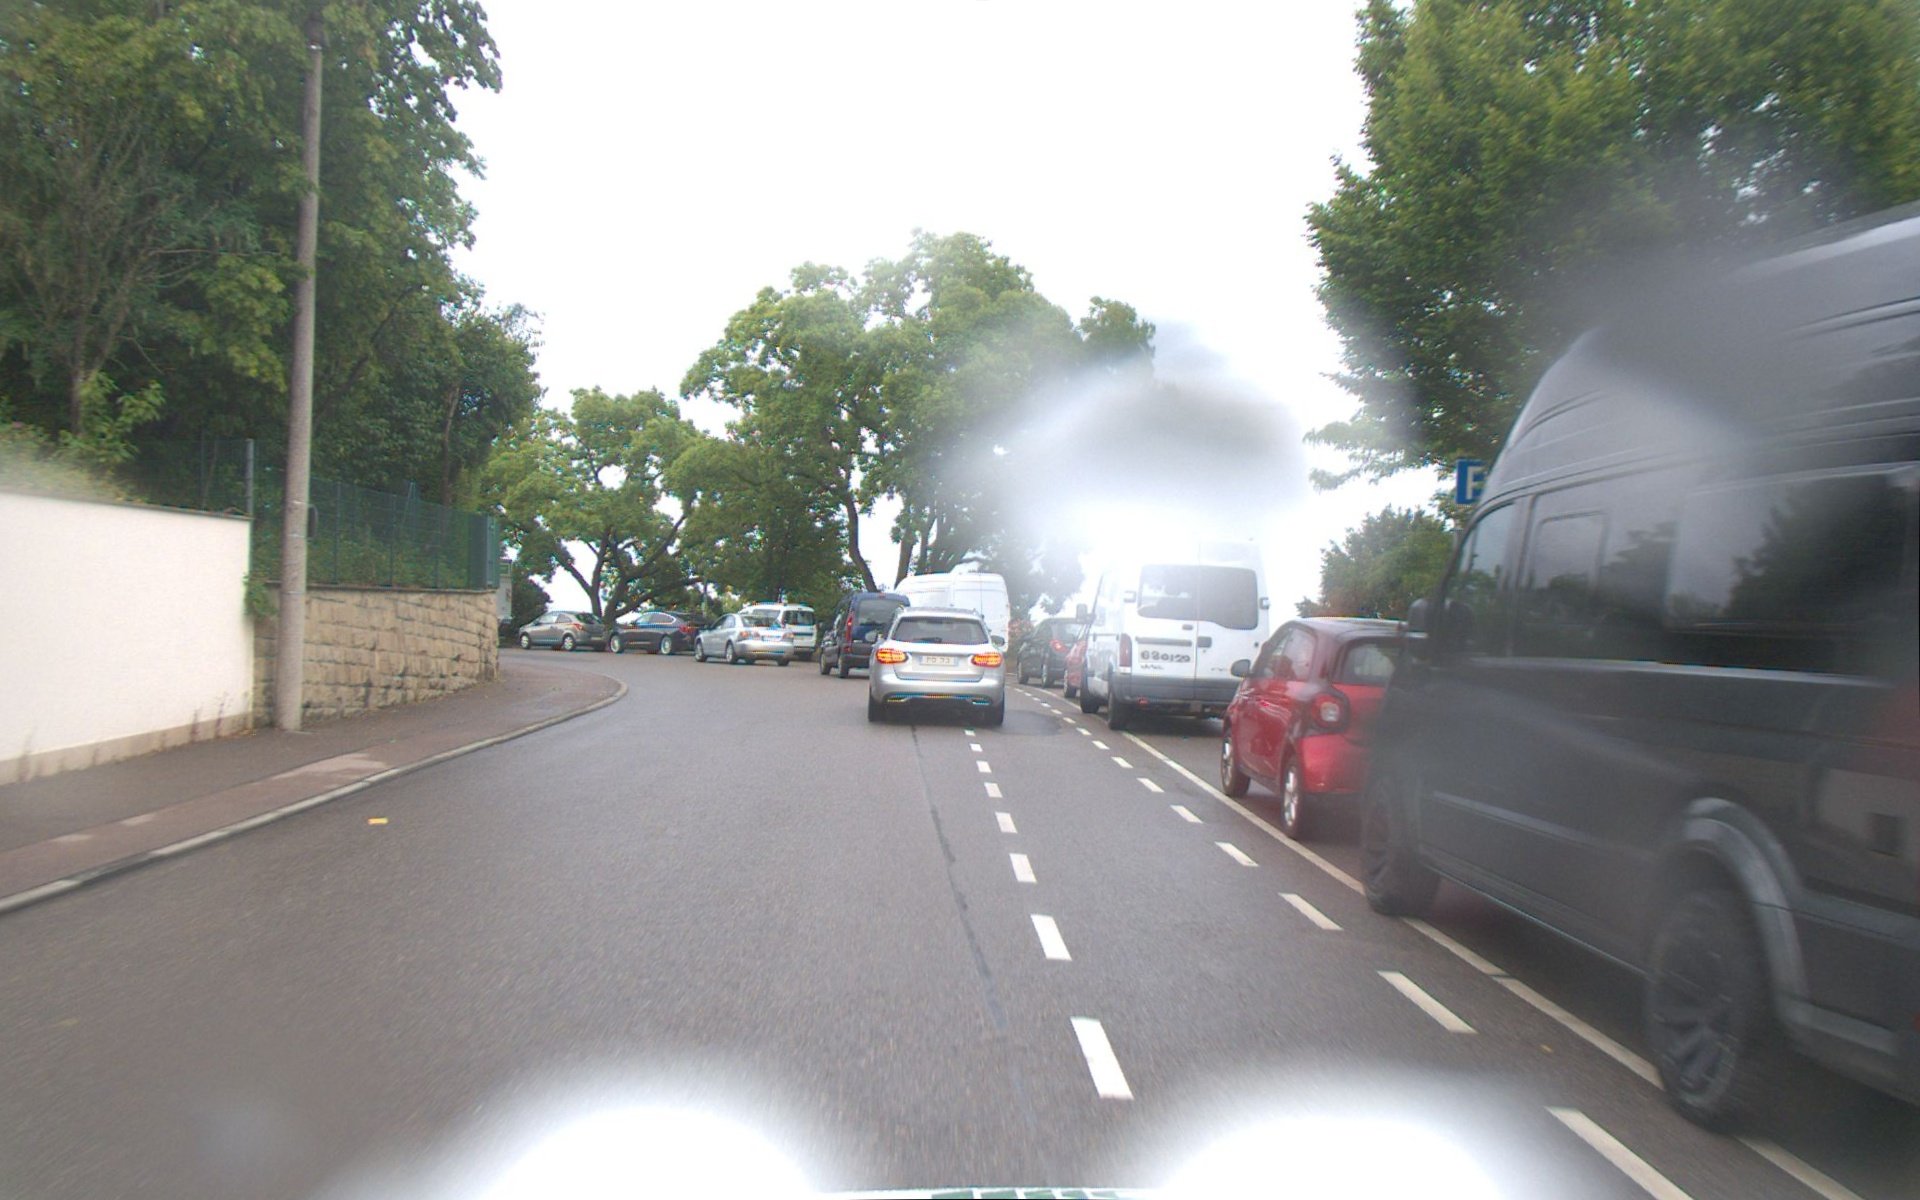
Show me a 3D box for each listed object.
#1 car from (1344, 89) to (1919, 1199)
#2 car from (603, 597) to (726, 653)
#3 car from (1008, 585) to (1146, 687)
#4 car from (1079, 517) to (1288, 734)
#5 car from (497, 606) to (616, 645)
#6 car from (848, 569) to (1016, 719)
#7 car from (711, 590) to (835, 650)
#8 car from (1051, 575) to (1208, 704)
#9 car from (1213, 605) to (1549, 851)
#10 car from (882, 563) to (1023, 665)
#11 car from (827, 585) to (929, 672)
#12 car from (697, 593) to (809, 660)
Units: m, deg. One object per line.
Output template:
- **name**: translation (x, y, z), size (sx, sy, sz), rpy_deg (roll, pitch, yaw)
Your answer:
- **car**: translation (3.412, 0.183, 6.630), size (2.082, 2.937, 5.767), rpy_deg (3, 0, -2)
- **car**: translation (-10.624, 0.876, 59.309), size (4.591, 1.727, 1.957), rpy_deg (3, 0, 44)
- **car**: translation (2.482, 0.729, 36.282), size (2.026, 1.994, 4.488), rpy_deg (3, 0, -8)
- **car**: translation (2.914, 0.316, 22.663), size (2.022, 2.538, 4.758), rpy_deg (3, 0, -1)
- **car**: translation (-15.333, 0.934, 62.810), size (4.404, 1.426, 1.964), rpy_deg (0, 0, 34)
- **car**: translation (-0.393, 0.547, 22.260), size (1.984, 1.738, 4.214), rpy_deg (3, 0, -2)
- **car**: translation (-6.357, 0.658, 55.805), size (1.953, 1.727, 4.430), rpy_deg (4, 0, -41)
- **car**: translation (2.911, 0.651, 29.435), size (2.023, 1.994, 4.494), rpy_deg (3, 0, -3)
- **car**: translation (3.110, 0.869, 12.923), size (1.551, 1.554, 3.584), rpy_deg (3, 0, -2)
- **car**: translation (-0.267, 0.341, 45.701), size (2.099, 2.571, 4.460), rpy_deg (3, 0, -25)
- **car**: translation (-1.875, 0.639, 36.793), size (1.955, 1.738, 3.994), rpy_deg (3, -1, -6)
- **car**: translation (-5.928, 0.742, 46.971), size (1.969, 1.738, 3.967), rpy_deg (3, -2, -26)
